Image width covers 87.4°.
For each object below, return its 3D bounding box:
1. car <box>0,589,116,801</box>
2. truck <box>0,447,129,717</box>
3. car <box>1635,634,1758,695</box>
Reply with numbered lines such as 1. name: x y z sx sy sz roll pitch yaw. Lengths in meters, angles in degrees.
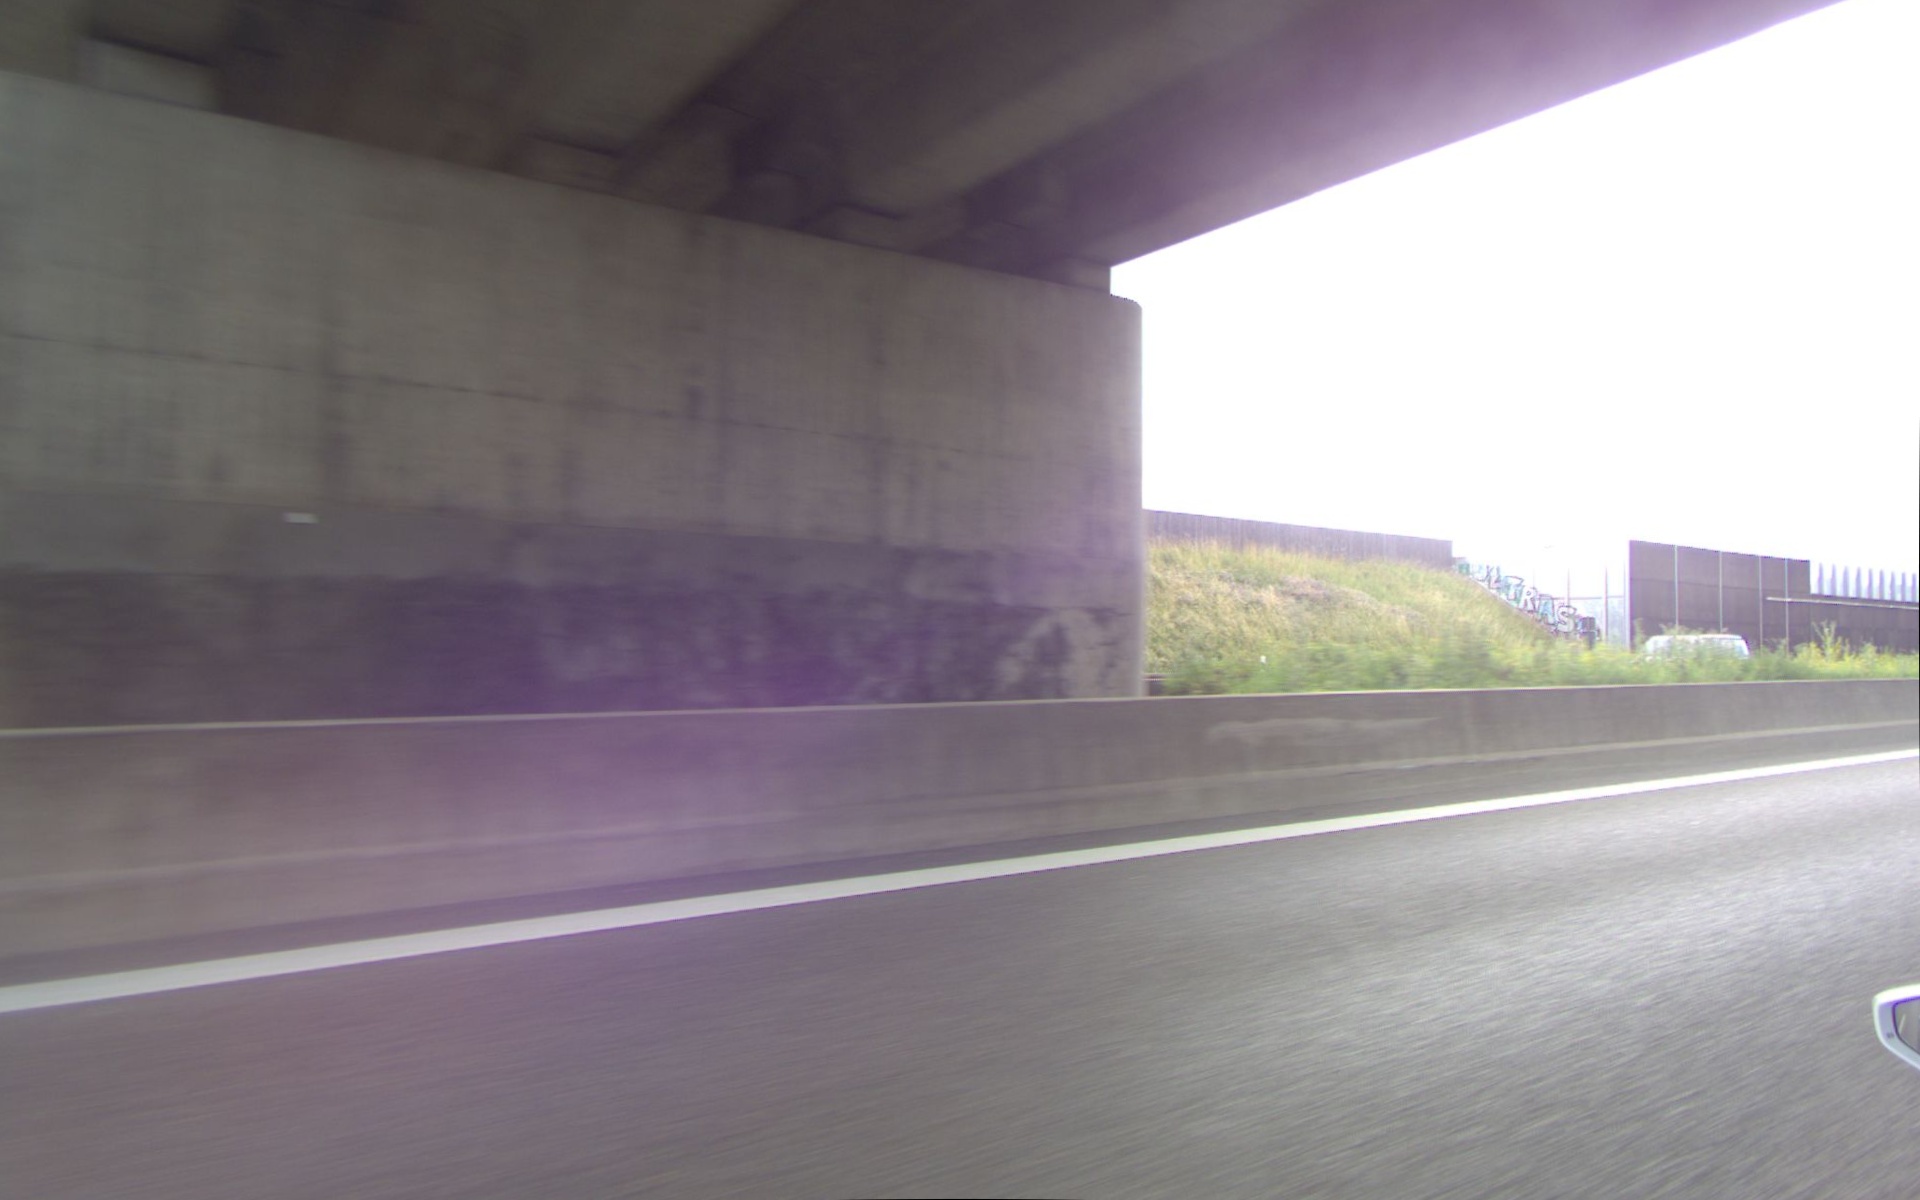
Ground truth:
1. car: -9.843 0.782 8.544 3.804 1.801 1.814 2 -2 -33
2. truck: -18.879 -0.482 12.353 12.858 3.732 2.983 3 -1 -31
3. car: 24.214 2.076 32.961 4.670 1.853 1.717 2 -2 -33
